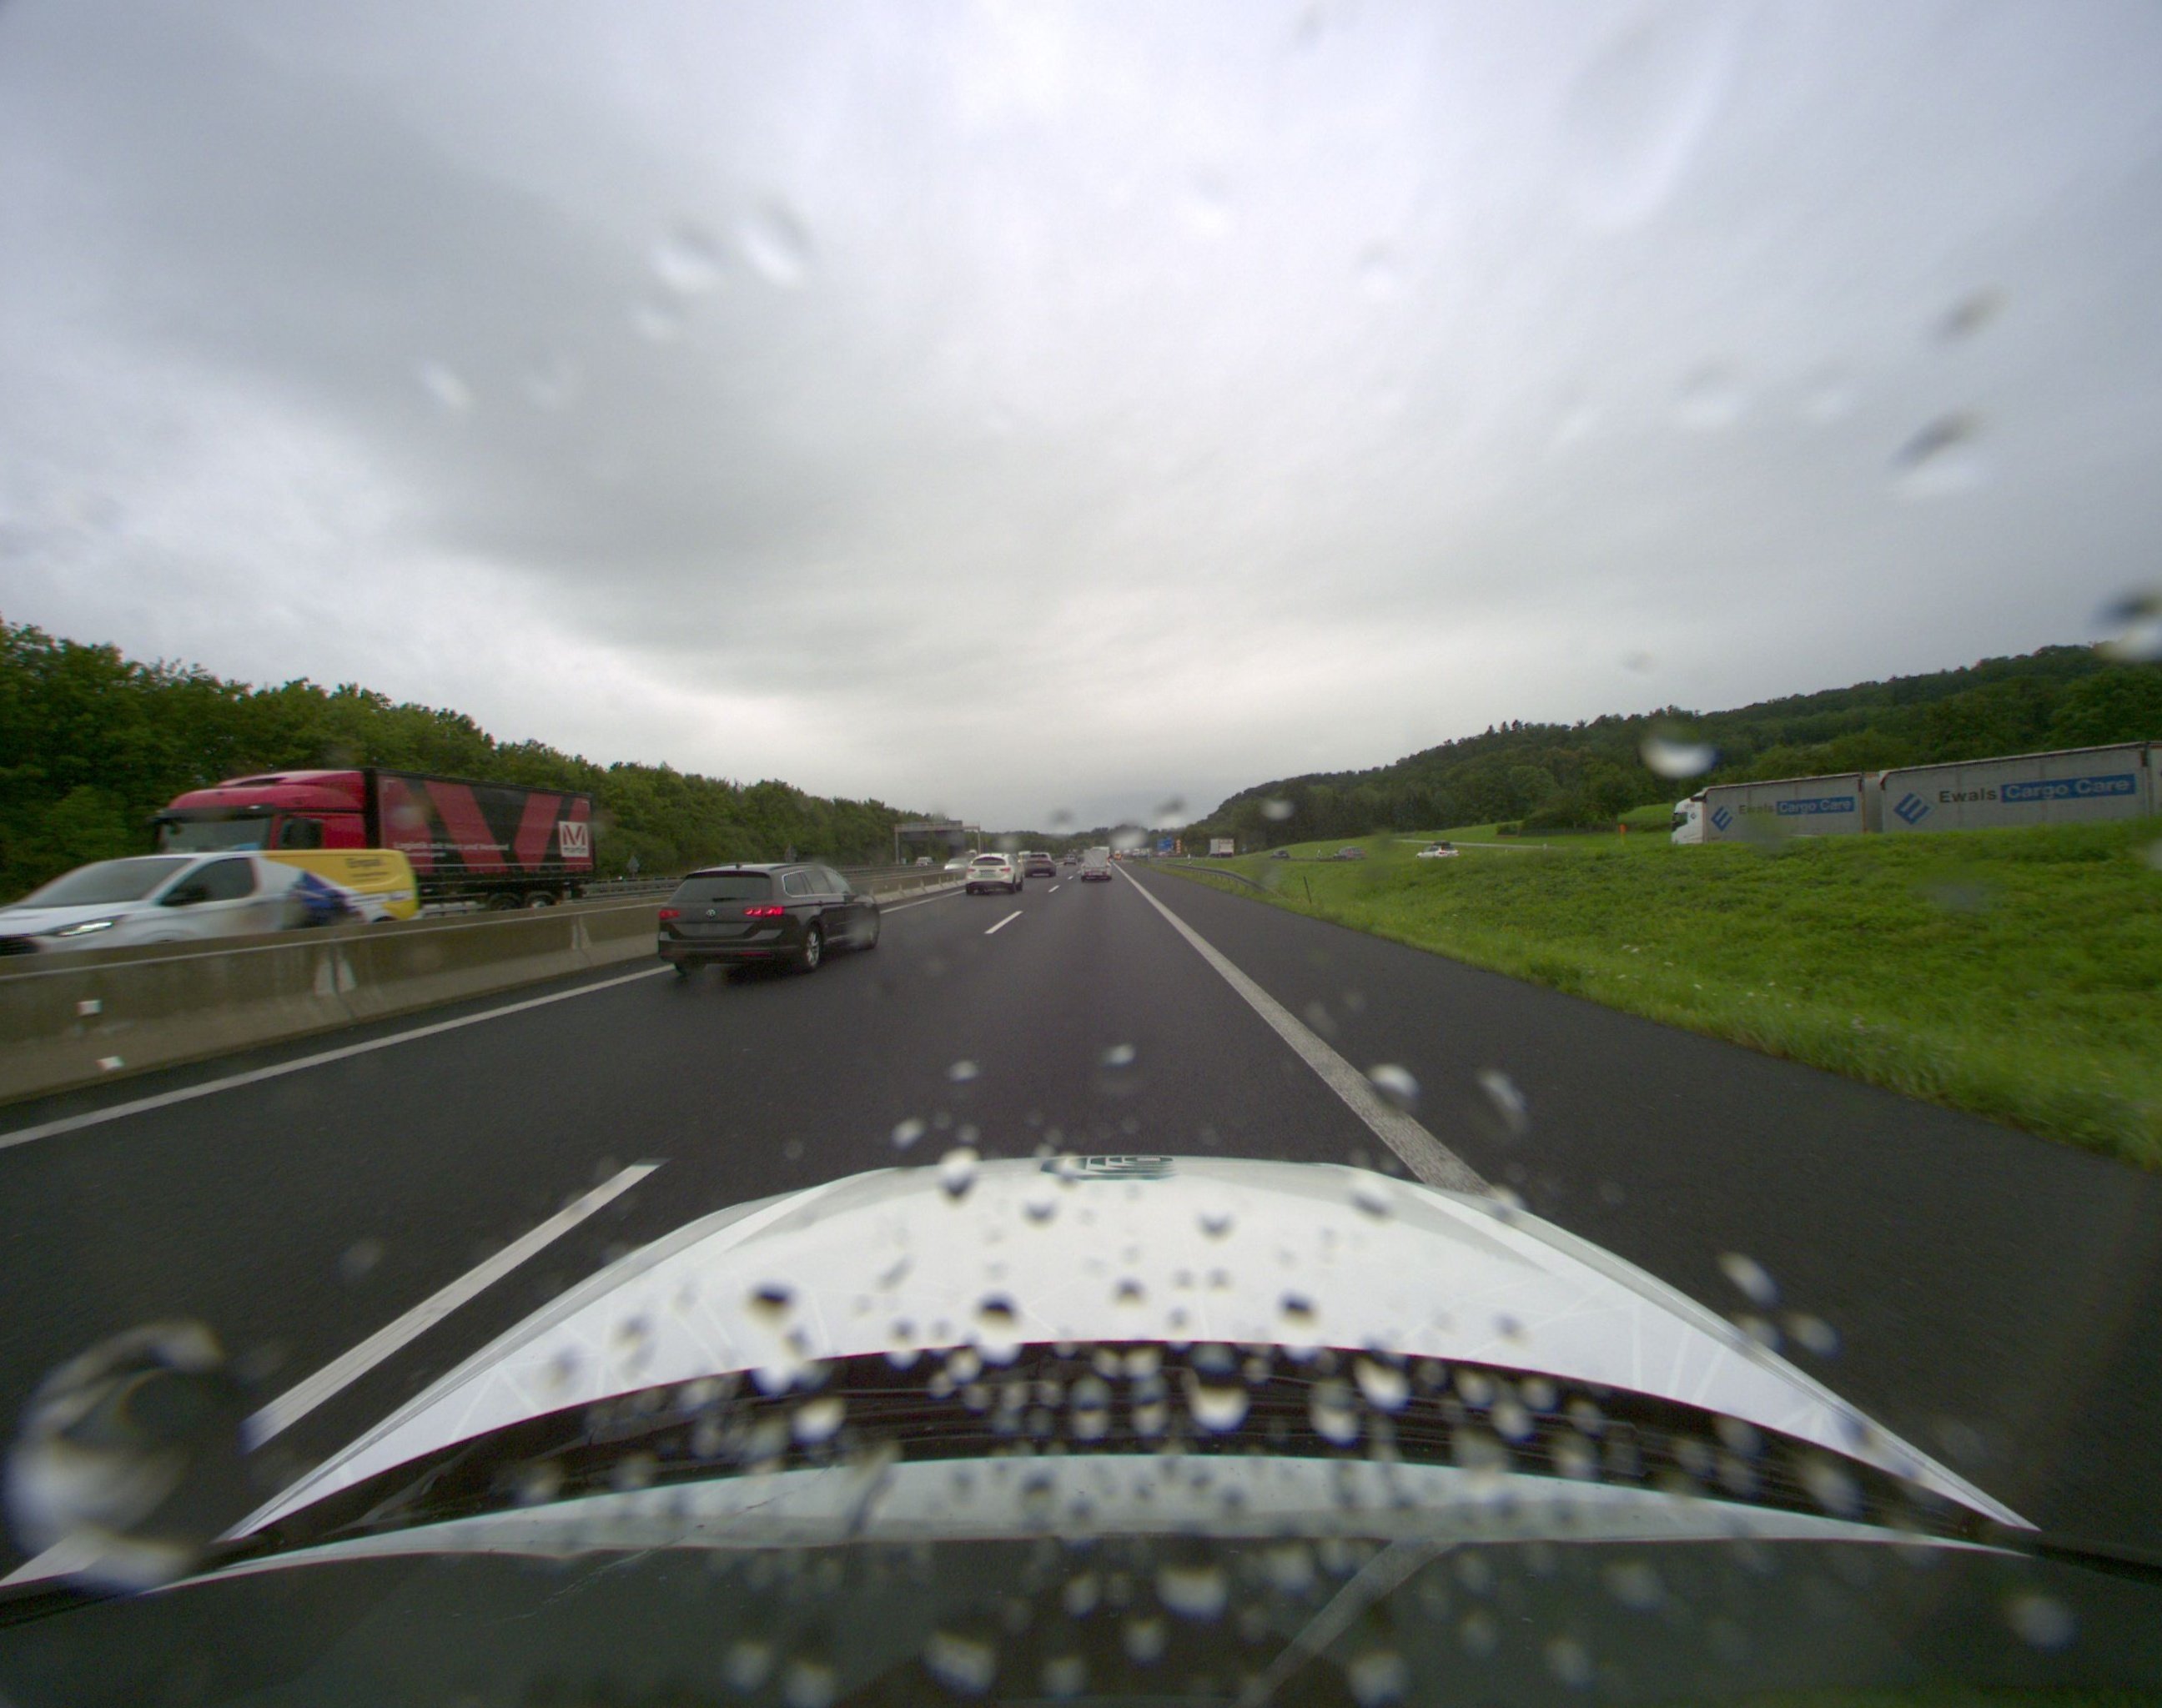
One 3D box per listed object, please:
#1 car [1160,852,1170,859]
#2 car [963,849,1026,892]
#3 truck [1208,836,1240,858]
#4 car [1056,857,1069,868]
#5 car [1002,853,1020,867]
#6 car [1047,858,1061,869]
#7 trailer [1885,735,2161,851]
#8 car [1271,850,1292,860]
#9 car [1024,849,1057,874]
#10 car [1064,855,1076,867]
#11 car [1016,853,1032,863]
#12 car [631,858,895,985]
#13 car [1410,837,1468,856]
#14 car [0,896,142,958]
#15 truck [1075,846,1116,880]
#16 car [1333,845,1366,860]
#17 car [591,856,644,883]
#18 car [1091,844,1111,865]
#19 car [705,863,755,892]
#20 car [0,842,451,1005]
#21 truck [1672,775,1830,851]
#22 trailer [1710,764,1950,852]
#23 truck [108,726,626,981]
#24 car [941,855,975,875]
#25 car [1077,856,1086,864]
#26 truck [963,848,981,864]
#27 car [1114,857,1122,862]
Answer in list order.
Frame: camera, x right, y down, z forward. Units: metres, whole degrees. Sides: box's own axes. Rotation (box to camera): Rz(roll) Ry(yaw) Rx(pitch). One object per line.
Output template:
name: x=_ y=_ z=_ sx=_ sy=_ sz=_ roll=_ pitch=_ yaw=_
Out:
car: x=19.697 y=0.333 z=190.858 sx=1.988 sy=1.552 sz=3.998 roll=0 pitch=0 yaw=-1
car: x=-3.522 y=0.642 z=33.916 sx=2.041 sy=1.670 sz=4.542 roll=-1 pitch=0 yaw=1
truck: x=24.596 y=-1.168 z=140.524 sx=3.815 sy=3.659 sz=8.265 roll=0 pitch=0 yaw=-2
car: x=-3.063 y=1.426 z=134.640 sx=1.812 sy=1.662 sz=4.019 roll=-2 pitch=0 yaw=2
car: x=-9.308 y=0.825 z=108.514 sx=1.987 sy=1.836 sz=4.679 roll=0 pitch=0 yaw=0
car: x=-3.962 y=1.420 z=121.673 sx=1.812 sy=1.662 sz=4.019 roll=-2 pitch=0 yaw=2
trailer: x=34.755 y=-1.919 z=29.414 sx=3.073 sy=3.527 sz=8.070 roll=0 pitch=0 yaw=-5
car: x=26.673 y=0.116 z=108.251 sx=1.694 sy=1.288 sz=3.529 roll=0 pitch=0 yaw=-4
car: x=-2.874 y=0.543 z=58.805 sx=1.968 sy=1.703 sz=4.803 roll=-1 pitch=0 yaw=1
car: x=-1.676 y=1.062 z=123.482 sx=1.732 sy=1.794 sz=4.001 roll=-1 pitch=0 yaw=1
car: x=-9.662 y=0.642 z=139.086 sx=2.351 sy=1.693 sz=5.905 roll=-2 pitch=0 yaw=-1
car: x=-4.334 y=0.816 z=12.072 sx=1.780 sy=1.459 sz=4.806 roll=-1 pitch=0 yaw=3
car: x=28.777 y=-0.577 z=65.710 sx=1.984 sy=1.377 sz=5.067 roll=-2 pitch=0 yaw=-6
car: x=-27.766 y=1.925 z=21.371 sx=1.517 sy=1.398 sz=4.002 roll=-1 pitch=0 yaw=2
truck: x=0.865 y=0.501 z=48.046 sx=2.234 sy=1.839 sz=6.585 roll=-1 pitch=0 yaw=1
car: x=23.688 y=-0.075 z=72.009 sx=1.536 sy=1.288 sz=3.529 roll=0 pitch=0 yaw=-4
car: x=-37.020 y=1.206 z=65.112 sx=1.742 sy=2.013 sz=4.003 roll=-2 pitch=0 yaw=2
car: x=2.720 y=0.101 z=112.225 sx=2.325 sy=2.725 sz=6.536 roll=-1 pitch=0 yaw=-1
car: x=-26.157 y=1.720 z=60.887 sx=1.667 sy=2.013 sz=4.280 roll=-2 pitch=0 yaw=2
car: x=-12.566 y=0.845 z=12.235 sx=1.987 sy=1.863 sz=5.222 roll=-3 pitch=0 yaw=1
truck: x=33.715 y=-1.955 z=41.311 sx=2.933 sy=3.527 sz=5.916 roll=0 pitch=0 yaw=-5
trailer: x=34.022 y=-1.892 z=37.658 sx=2.933 sy=3.527 sz=8.404 roll=0 pitch=0 yaw=-5
truck: x=-16.311 y=-0.005 z=20.476 sx=3.386 sy=4.733 sz=10.493 roll=-1 pitch=0 yaw=3
car: x=-11.198 y=0.980 z=74.501 sx=2.148 sy=1.765 sz=4.962 roll=-1 pitch=0 yaw=2
car: x=0.096 y=1.219 z=166.152 sx=1.639 sy=1.574 sz=4.002 roll=0 pitch=0 yaw=2
truck: x=-26.609 y=0.525 z=199.034 sx=2.676 sy=3.661 sz=9.559 roll=-2 pitch=0 yaw=1
car: x=10.316 y=1.512 z=228.671 sx=1.989 sy=1.552 sz=3.995 roll=0 pitch=0 yaw=-3
